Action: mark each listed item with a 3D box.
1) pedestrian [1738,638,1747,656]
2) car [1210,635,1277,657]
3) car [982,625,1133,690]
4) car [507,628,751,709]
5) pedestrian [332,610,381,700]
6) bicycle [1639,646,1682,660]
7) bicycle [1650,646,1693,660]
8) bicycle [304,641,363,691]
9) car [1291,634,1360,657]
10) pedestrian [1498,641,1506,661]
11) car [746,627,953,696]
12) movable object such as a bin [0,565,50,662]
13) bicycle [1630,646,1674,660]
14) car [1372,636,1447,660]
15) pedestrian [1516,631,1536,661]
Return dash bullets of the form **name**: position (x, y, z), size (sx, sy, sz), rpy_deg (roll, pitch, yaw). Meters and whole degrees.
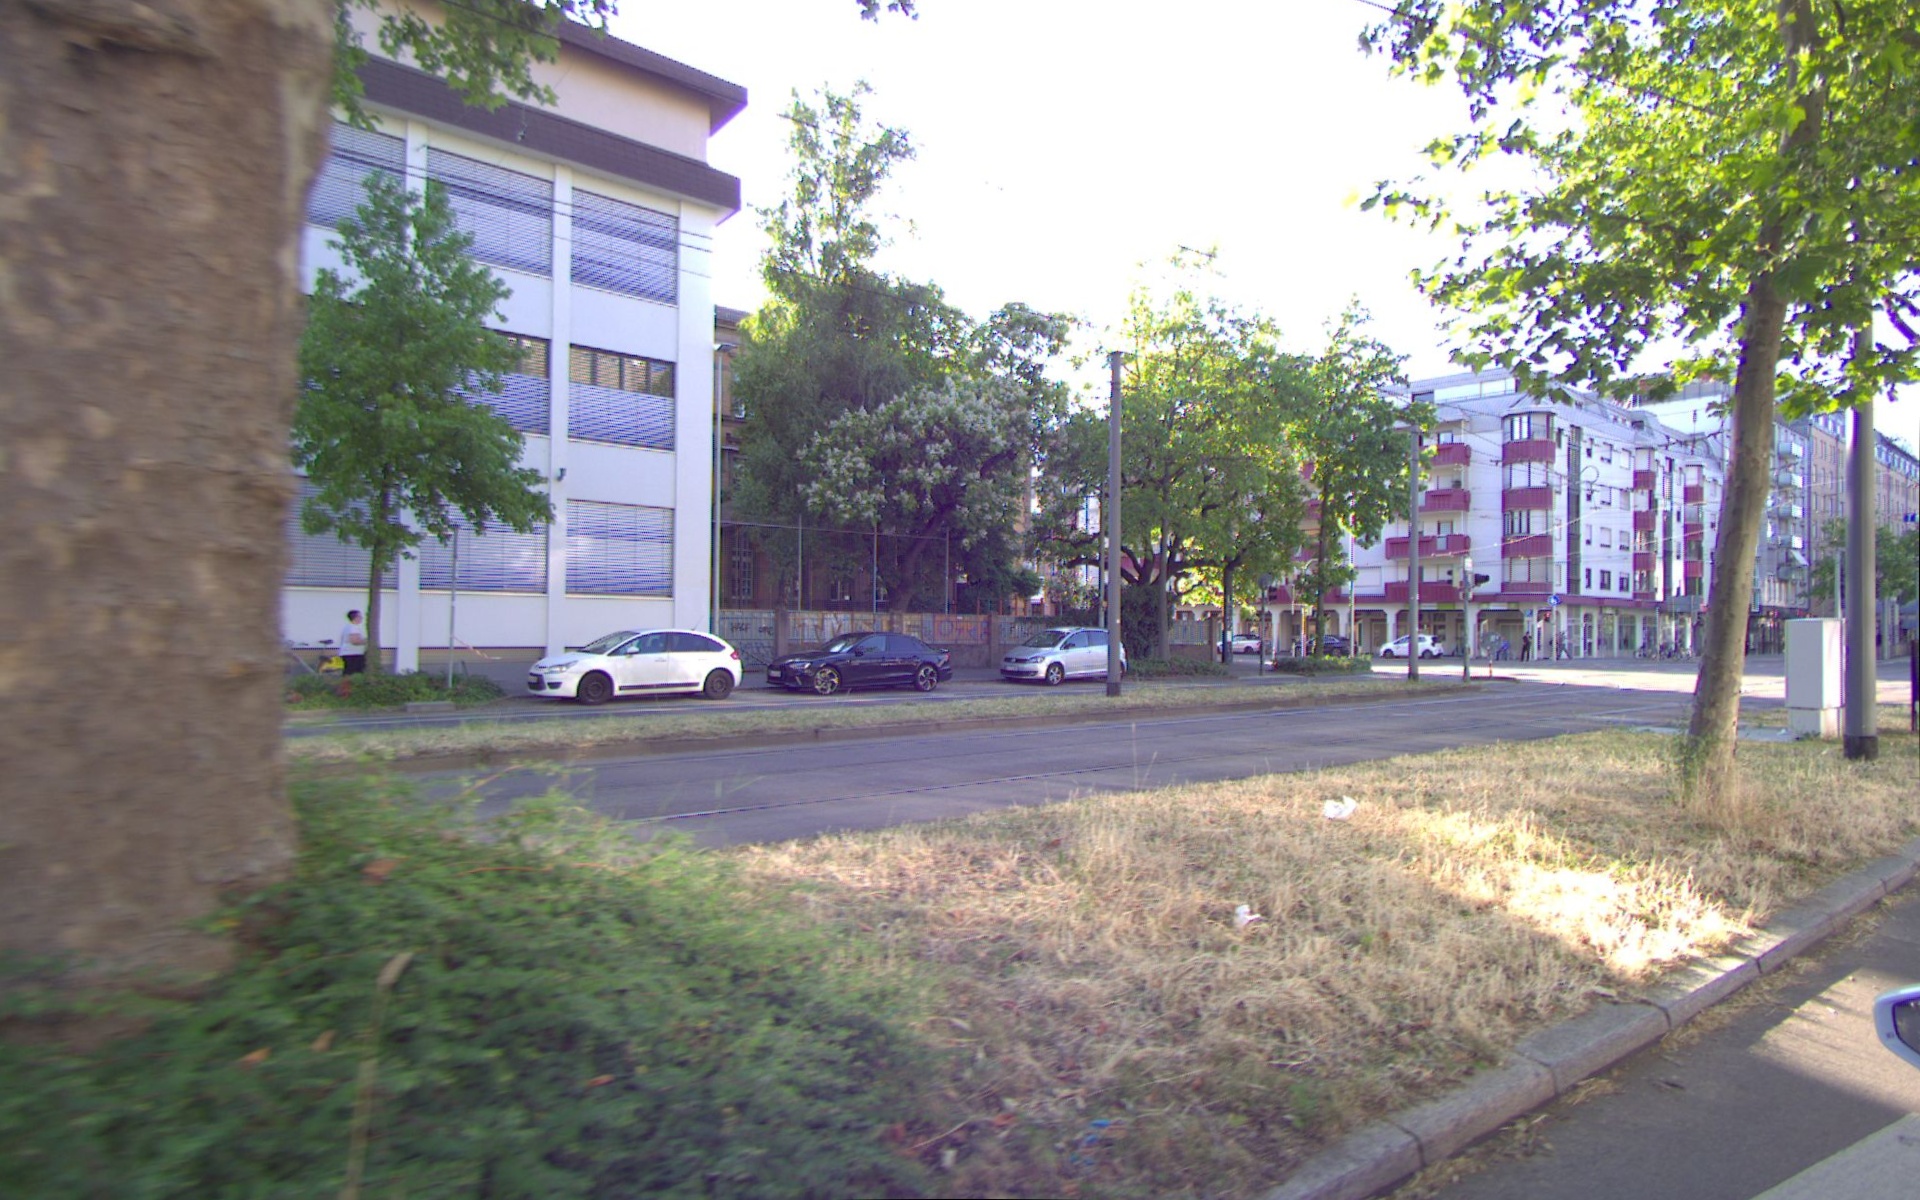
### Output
- **pedestrian**: position (63.442, 3.831, 81.425), size (0.505, 1.478, 0.525), rpy_deg (-1, -2, 42)
- **car**: position (20.008, 3.225, 71.009), size (4.212, 1.483, 1.792), rpy_deg (-2, -3, 43)
- **car**: position (2.831, 1.593, 28.637), size (4.144, 1.711, 1.977), rpy_deg (2, -2, -40)
- **car**: position (-6.728, 1.327, 20.647), size (4.369, 1.490, 1.977), rpy_deg (2, -2, -40)
- **pedestrian**: position (-11.313, 1.018, 18.821), size (0.724, 1.642, 0.631), rpy_deg (2, -1, -34)
- **bicycle**: position (43.667, 3.300, 62.601), size (0.488, 0.797, 2.151), rpy_deg (2, -2, -40)
- **bicycle**: position (44.808, 3.320, 63.319), size (0.523, 0.835, 2.151), rpy_deg (2, -2, -40)
- **bicycle**: position (-13.037, 1.359, 20.908), size (1.010, 1.015, 0.300), rpy_deg (2, -2, -40)
- **car**: position (24.244, 3.000, 66.697), size (3.942, 1.483, 1.793), rpy_deg (-2, -3, 41)
- **pedestrian**: position (32.568, 3.071, 60.344), size (0.316, 1.230, 0.301), rpy_deg (2, -3, -42)
- **car**: position (-2.568, 1.399, 23.979), size (4.612, 1.495, 1.977), rpy_deg (2, -2, -40)
- **movable object such as a bin**: position (-32.584, 0.349, 34.009), size (2.269, 3.043, 6.047), rpy_deg (1, 1, -39)
- **bicycle**: position (42.923, 3.280, 62.339), size (0.636, 0.797, 2.151), rpy_deg (2, -2, -40)
- **car**: position (28.207, 2.991, 63.130), size (3.942, 1.483, 1.793), rpy_deg (-2, -3, 42)
- **pedestrian**: position (32.602, 2.649, 57.827), size (1.026, 1.684, 0.702), rpy_deg (2, -3, -42)
